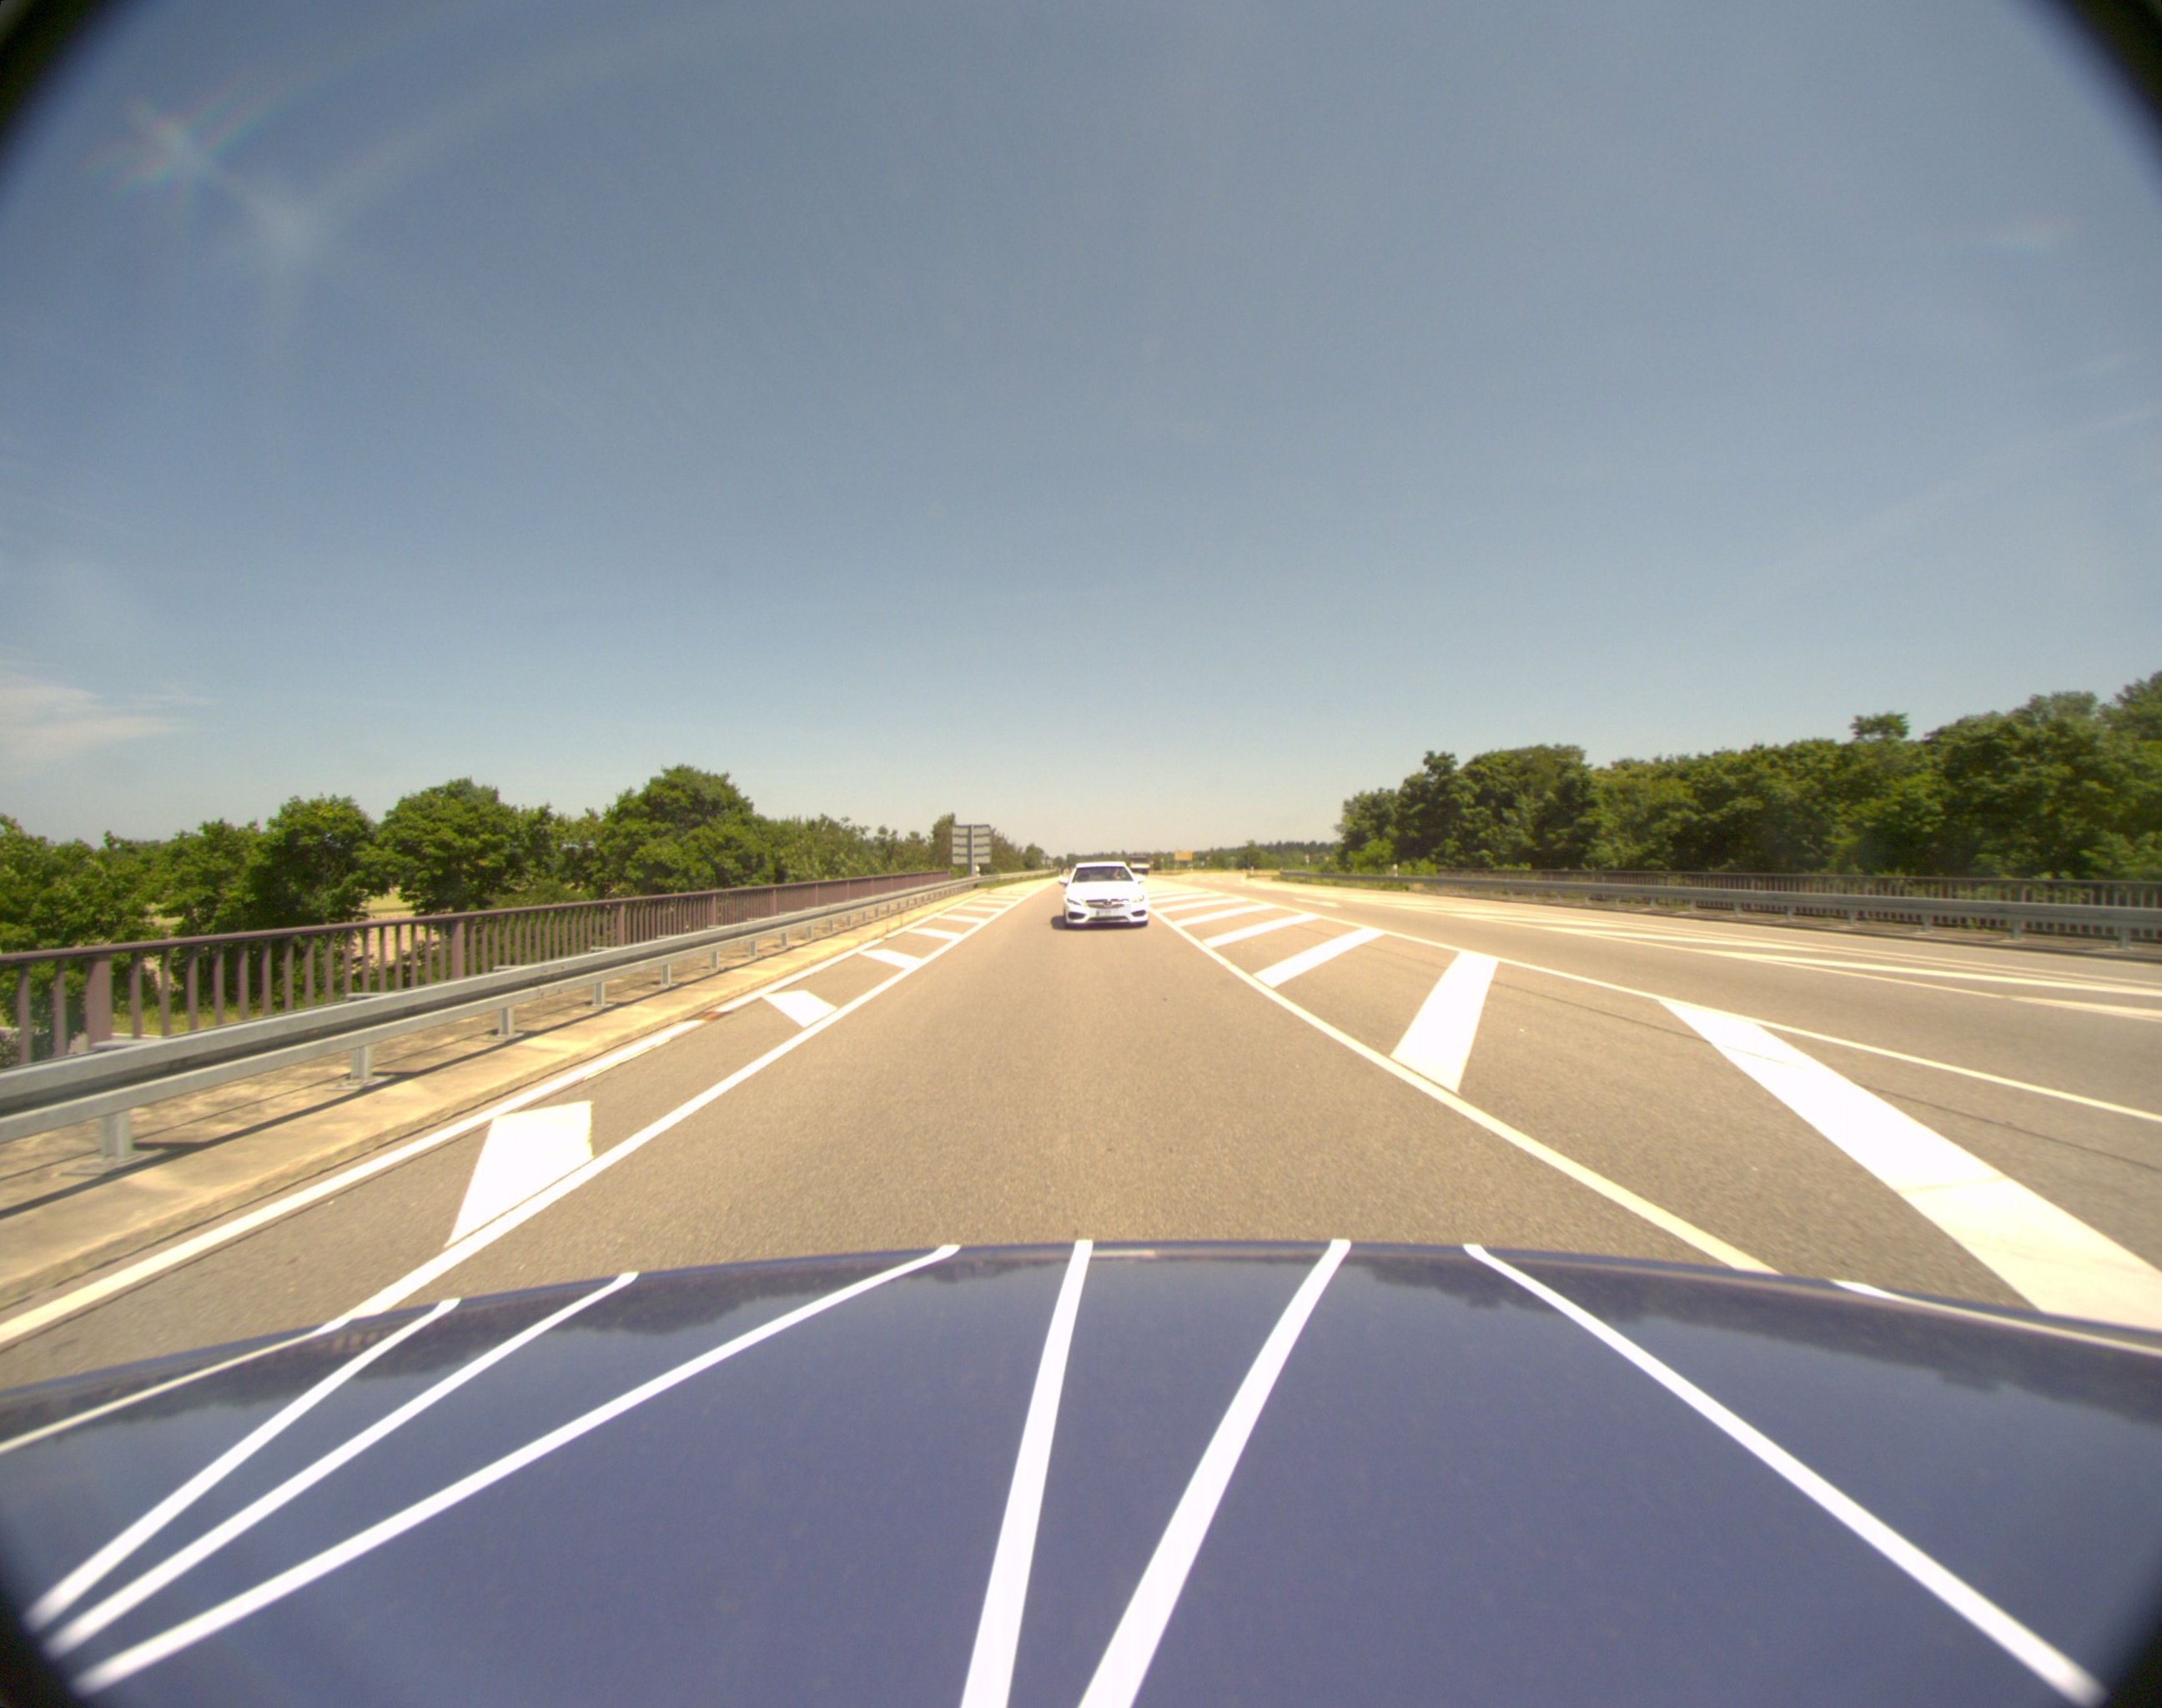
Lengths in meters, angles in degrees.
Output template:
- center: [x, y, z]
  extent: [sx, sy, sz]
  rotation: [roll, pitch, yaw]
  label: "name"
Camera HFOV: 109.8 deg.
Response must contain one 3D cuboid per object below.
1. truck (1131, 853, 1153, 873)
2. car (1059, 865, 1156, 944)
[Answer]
- center: [7.107, 1.032, 89.467]
  extent: [2.212, 2.229, 5.373]
  rotation: [-1, 0, 1]
  label: "truck"
- center: [0.529, 0.988, 16.502]
  extent: [1.813, 1.407, 4.110]
  rotation: [-2, 0, 1]
  label: "car"
